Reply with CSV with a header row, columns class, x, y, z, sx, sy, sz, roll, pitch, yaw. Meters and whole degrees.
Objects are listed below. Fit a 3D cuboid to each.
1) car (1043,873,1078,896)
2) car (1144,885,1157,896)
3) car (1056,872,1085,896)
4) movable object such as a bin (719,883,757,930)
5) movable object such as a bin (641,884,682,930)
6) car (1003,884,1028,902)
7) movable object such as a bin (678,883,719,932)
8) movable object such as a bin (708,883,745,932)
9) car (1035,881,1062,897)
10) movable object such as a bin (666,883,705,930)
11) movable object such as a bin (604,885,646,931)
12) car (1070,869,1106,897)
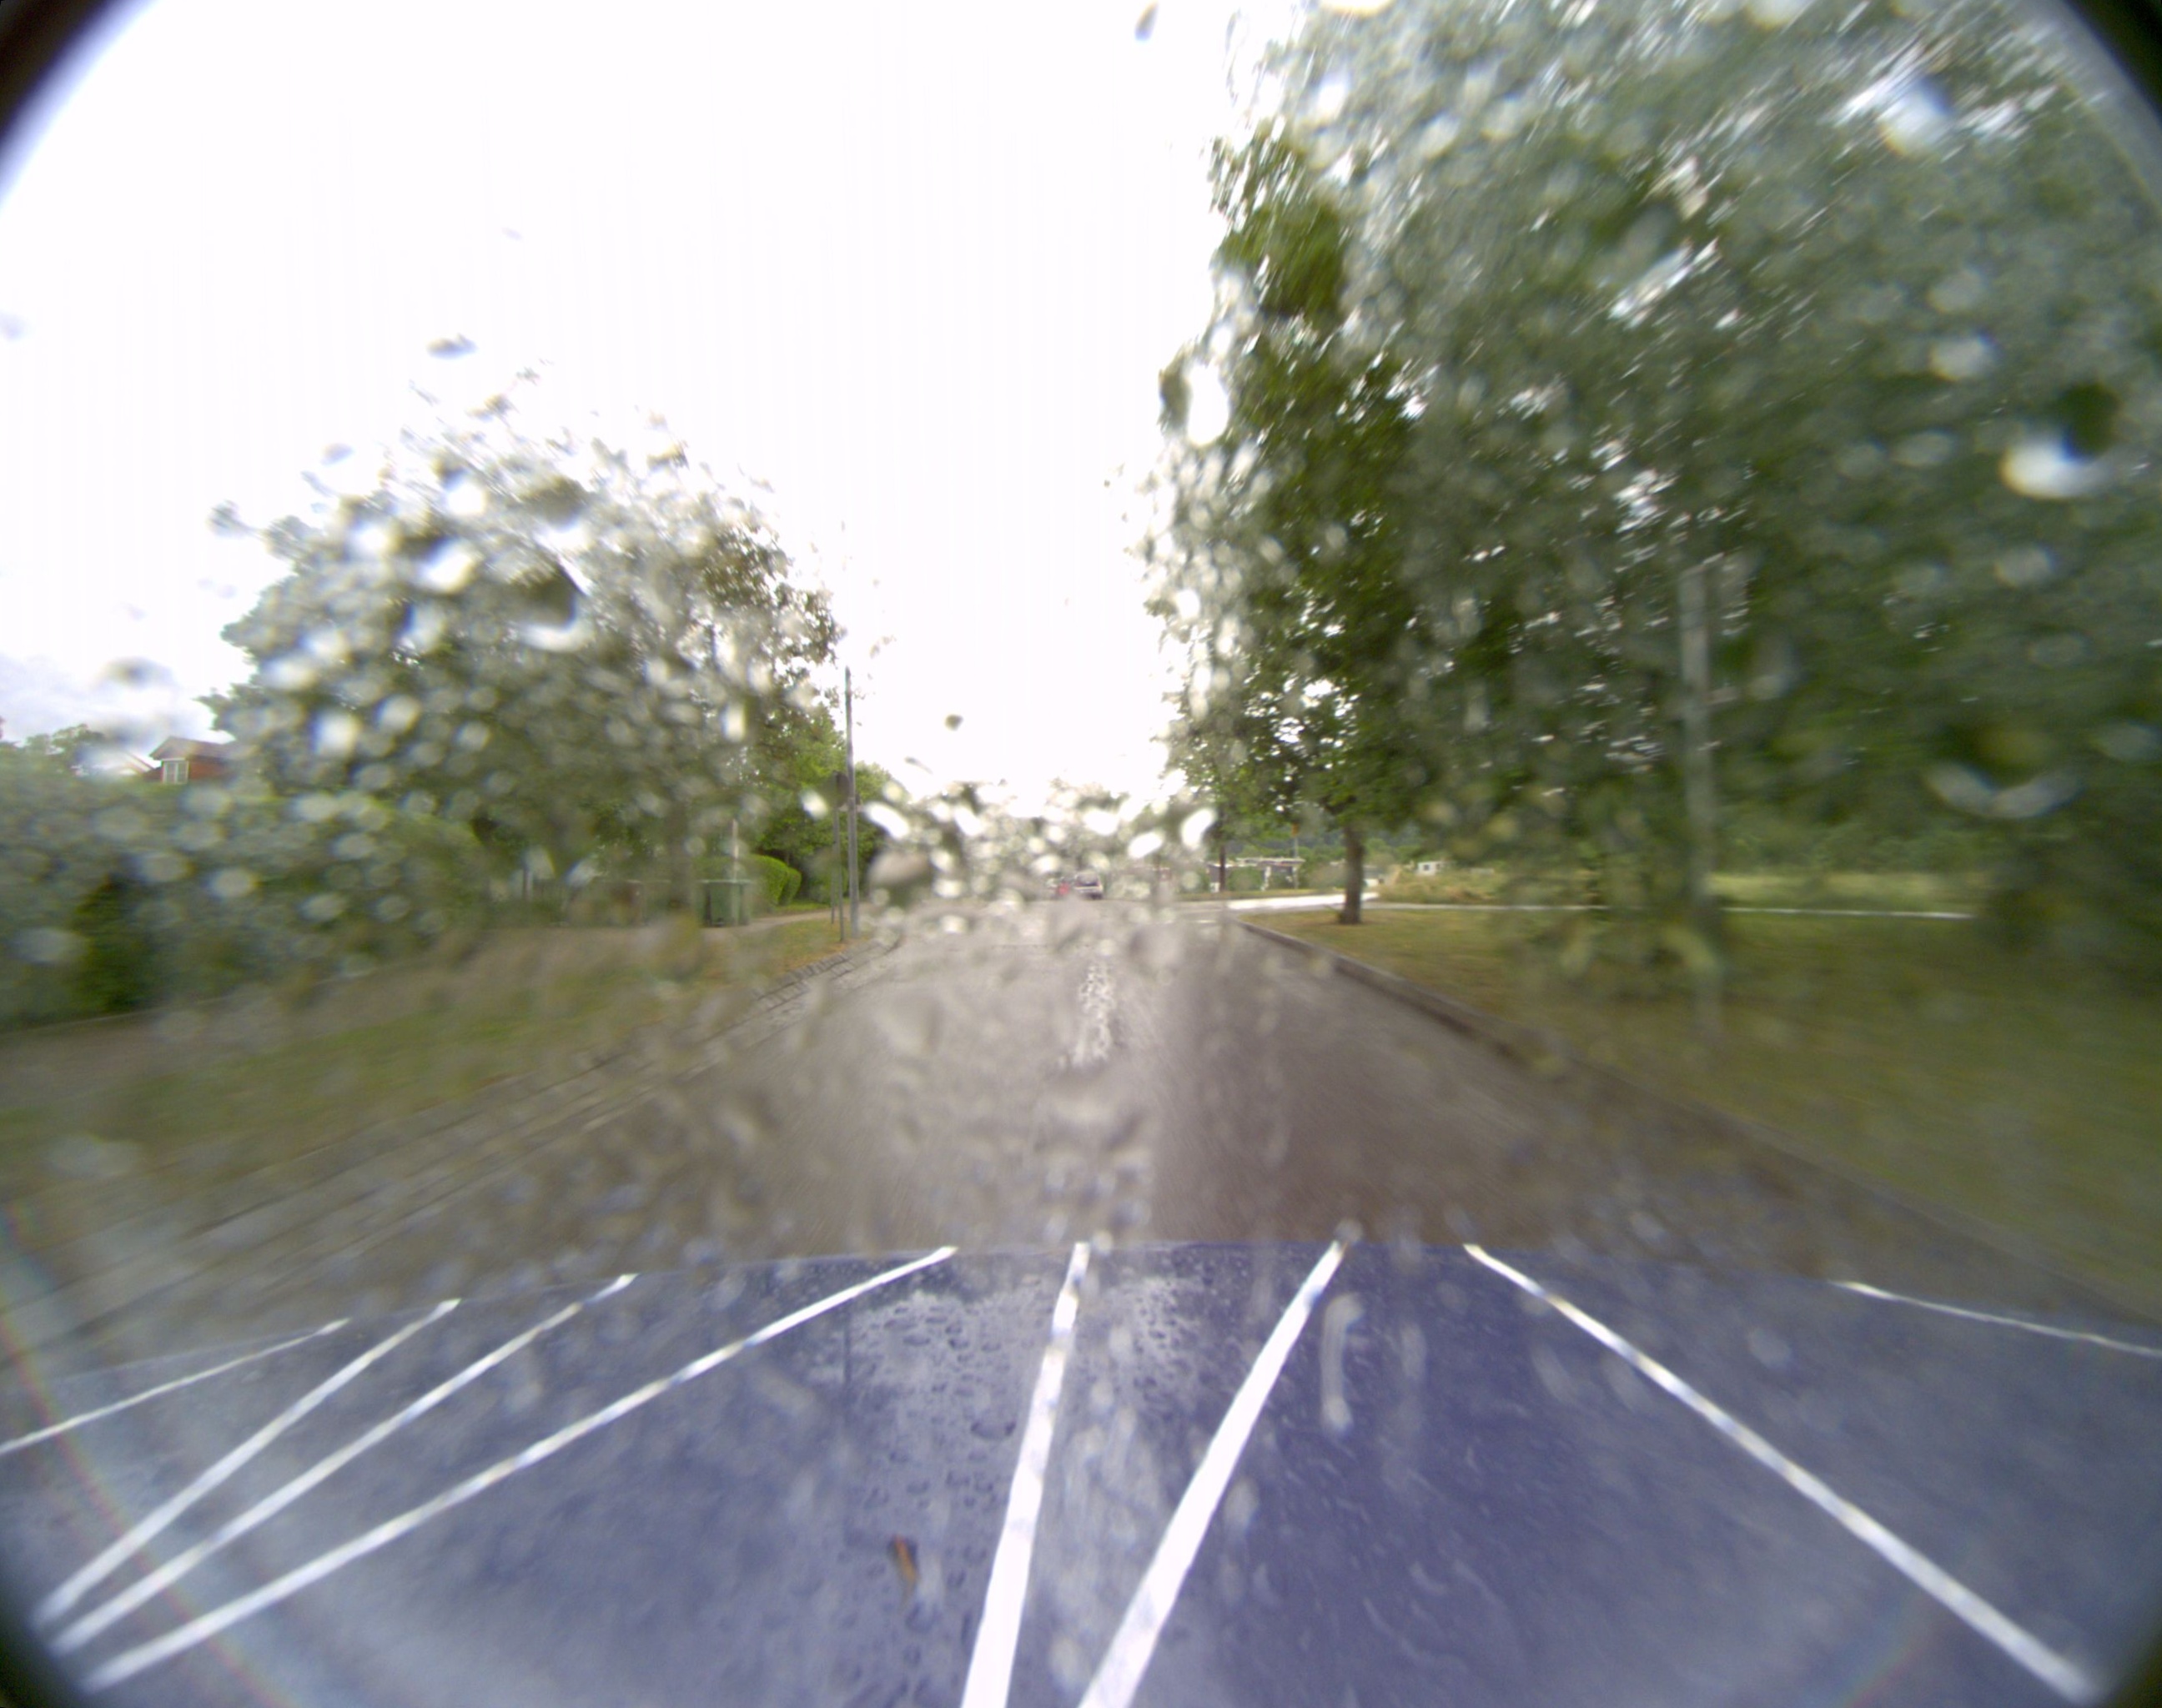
class,x,y,z,sx,sy,sz,roll,pitch,yaw
car,-1.505,2.232,54.924,1.852,1.542,3.988,-1,-3,-11
car,20.626,10.725,225.580,2.142,3.205,5.083,-1,-2,-17
car,-0.693,1.941,48.840,1.553,1.427,3.012,-2,-3,-6
movable object such as a bin,-8.087,1.223,17.949,0.602,1.068,0.696,-1,-2,-3
movable object such as a bin,-9.916,1.244,17.979,0.605,1.048,0.696,-1,-2,-3
car,-6.940,4.131,80.023,1.963,1.596,3.999,0,-5,-13
movable object such as a bin,-8.629,1.200,17.172,0.597,1.066,0.696,-1,-2,-3
movable object such as a bin,-8.001,1.189,17.152,0.543,1.067,0.667,-1,-2,-2
car,-2.754,2.928,63.190,1.734,1.273,3.326,-1,-3,-12
movable object such as a bin,-9.295,1.230,17.893,0.579,1.060,0.696,-1,-2,-3
movable object such as a bin,-10.712,1.250,17.864,0.605,1.048,0.696,-1,-2,-3
car,0.362,1.638,43.189,1.679,1.470,3.554,-2,-2,-6
